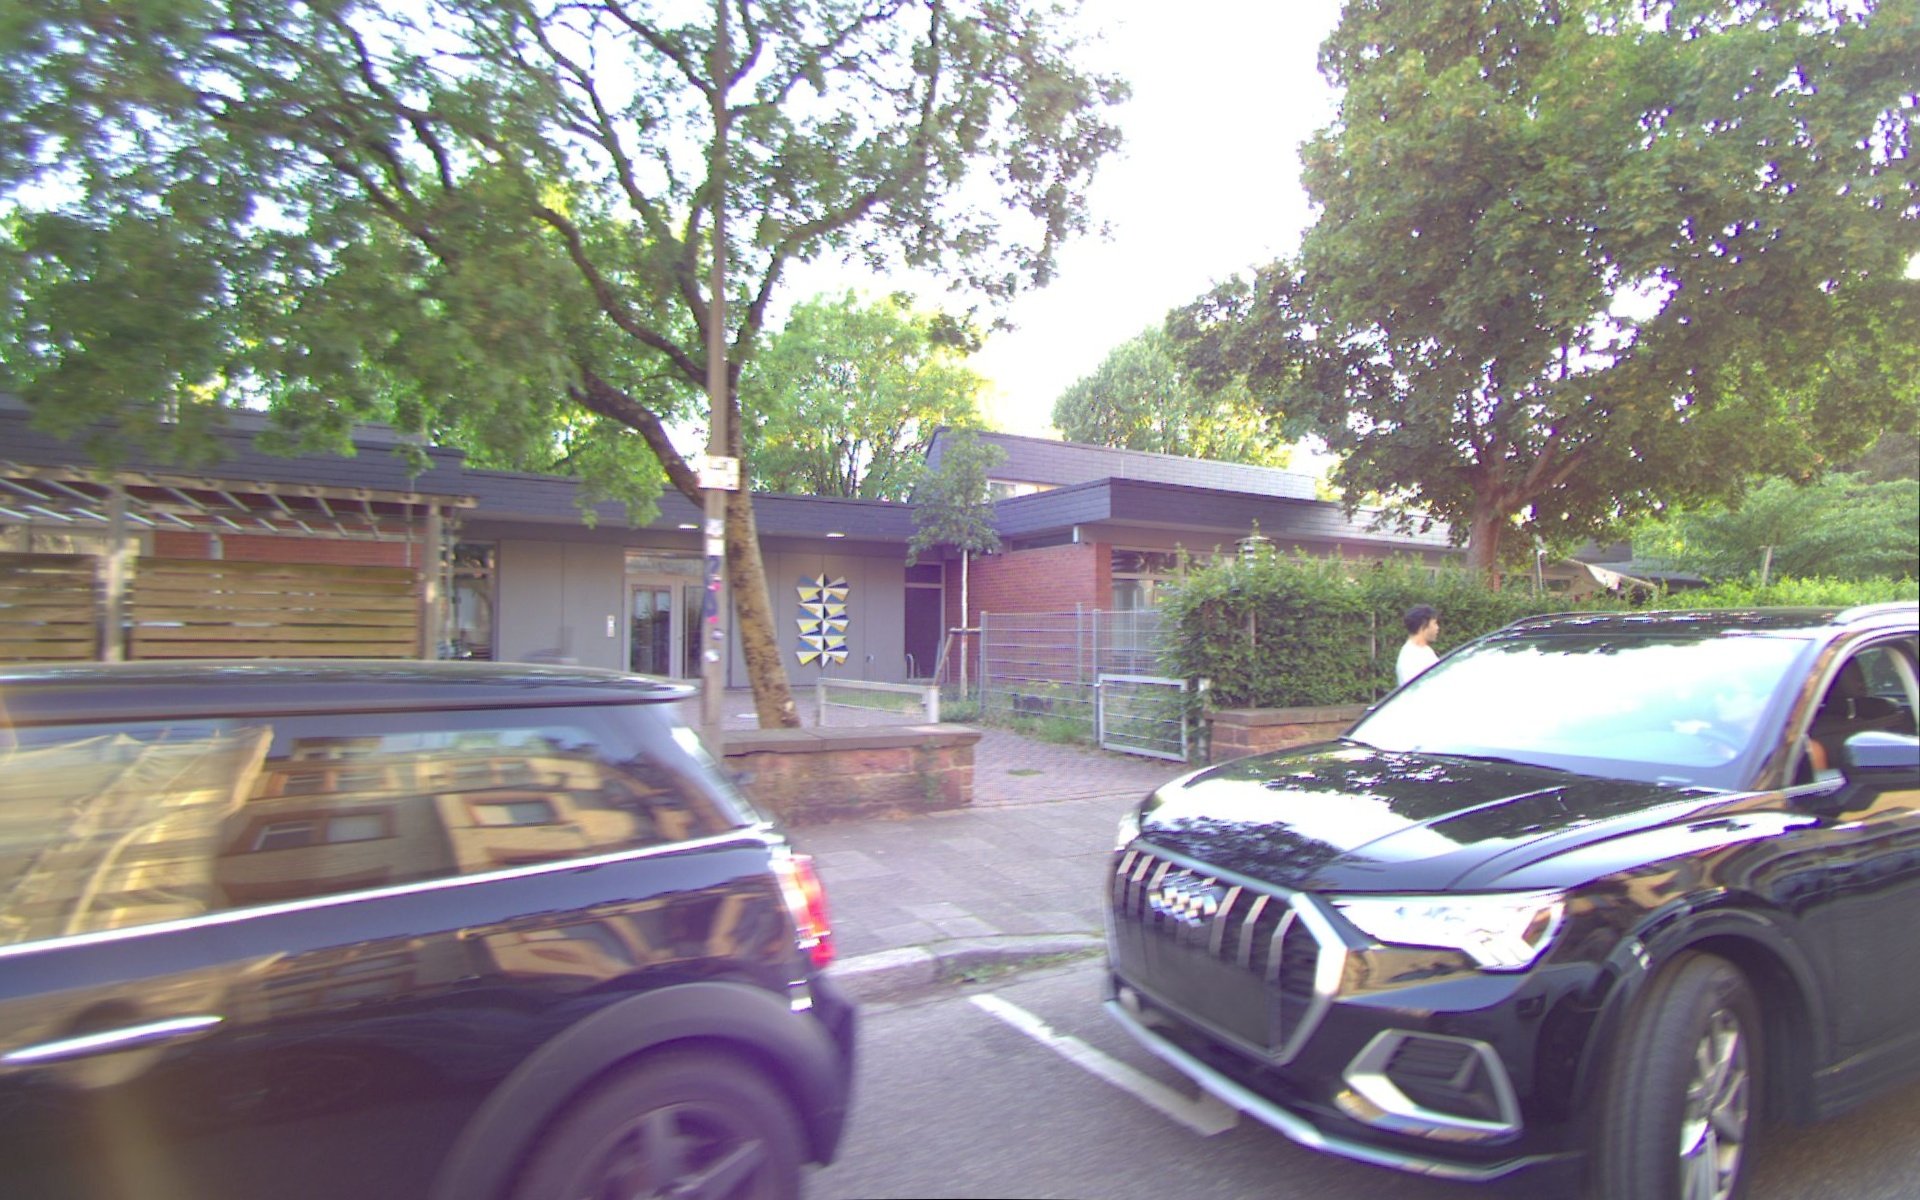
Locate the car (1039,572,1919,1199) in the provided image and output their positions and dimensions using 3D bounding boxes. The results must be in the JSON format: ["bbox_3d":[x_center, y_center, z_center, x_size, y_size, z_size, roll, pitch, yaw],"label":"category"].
[{"bbox_3d":[2.693,0.816,3.669,4.500,1.590,1.800,1,-2,-23],"label":"car"}]

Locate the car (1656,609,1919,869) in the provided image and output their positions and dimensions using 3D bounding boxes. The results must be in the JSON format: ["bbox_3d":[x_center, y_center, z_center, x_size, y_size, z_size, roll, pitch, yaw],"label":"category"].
[{"bbox_3d":[7.562,0.969,7.920,3.950,1.652,1.777,1,-4,-28],"label":"car"}]

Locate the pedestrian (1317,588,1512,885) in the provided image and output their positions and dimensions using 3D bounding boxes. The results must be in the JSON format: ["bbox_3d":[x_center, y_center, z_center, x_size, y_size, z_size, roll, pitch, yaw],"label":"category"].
[{"bbox_3d":[3.100,0.864,6.885,0.778,1.855,0.933,1,-1,-31],"label":"pedestrian"}]

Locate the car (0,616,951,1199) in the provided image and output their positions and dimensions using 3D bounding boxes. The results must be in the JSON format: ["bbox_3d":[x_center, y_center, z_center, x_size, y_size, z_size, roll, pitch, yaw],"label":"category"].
[{"bbox_3d":[-2.126,0.806,1.990,3.944,1.497,1.630,1,-3,-30],"label":"car"}]
